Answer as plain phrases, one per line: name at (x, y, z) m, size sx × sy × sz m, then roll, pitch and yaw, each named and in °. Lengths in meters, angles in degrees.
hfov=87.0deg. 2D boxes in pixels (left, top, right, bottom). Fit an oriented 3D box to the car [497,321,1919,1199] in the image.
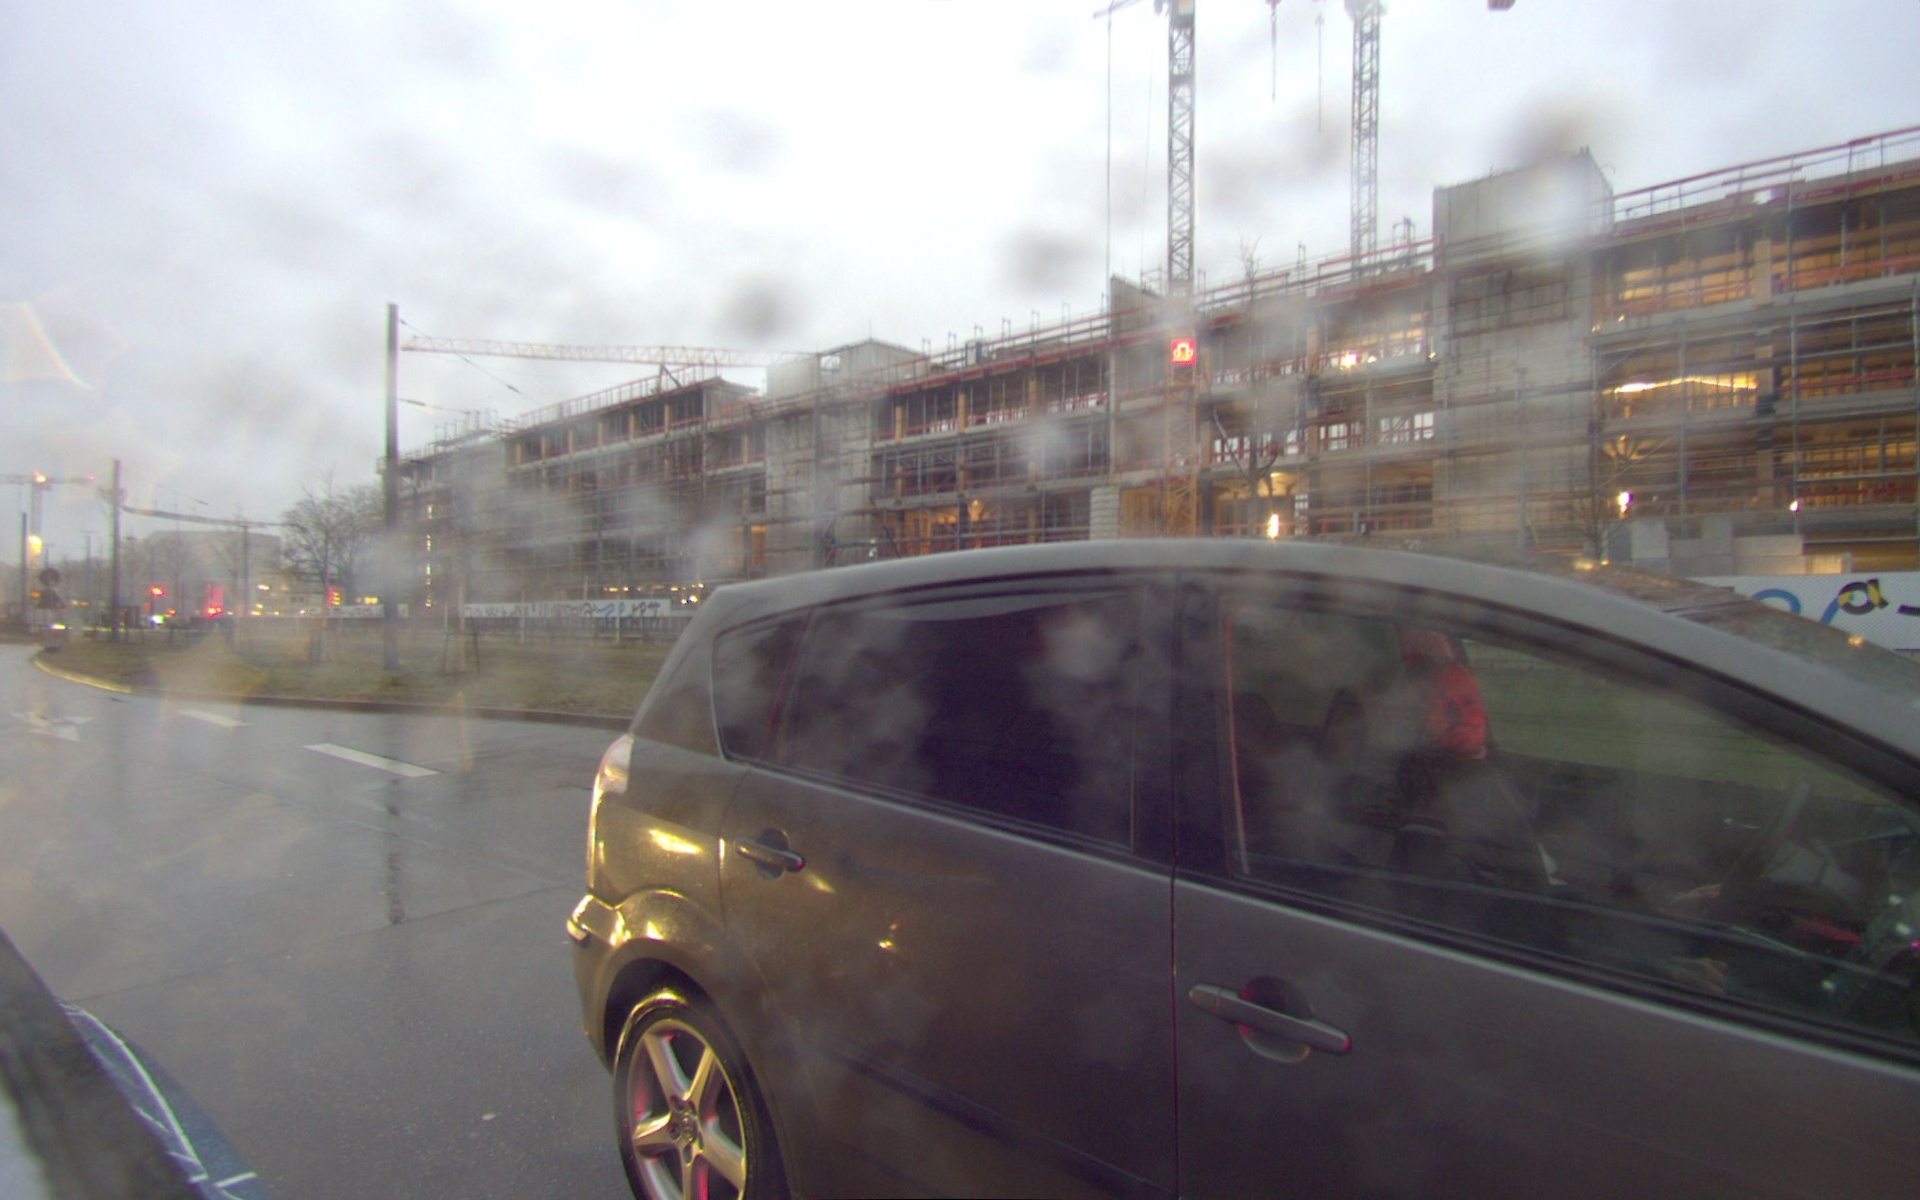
car at (1.016, 0.598, 1.876) m, size 4.131 × 1.659 × 1.793 m, roll -1°, pitch -1°, yaw 39°
